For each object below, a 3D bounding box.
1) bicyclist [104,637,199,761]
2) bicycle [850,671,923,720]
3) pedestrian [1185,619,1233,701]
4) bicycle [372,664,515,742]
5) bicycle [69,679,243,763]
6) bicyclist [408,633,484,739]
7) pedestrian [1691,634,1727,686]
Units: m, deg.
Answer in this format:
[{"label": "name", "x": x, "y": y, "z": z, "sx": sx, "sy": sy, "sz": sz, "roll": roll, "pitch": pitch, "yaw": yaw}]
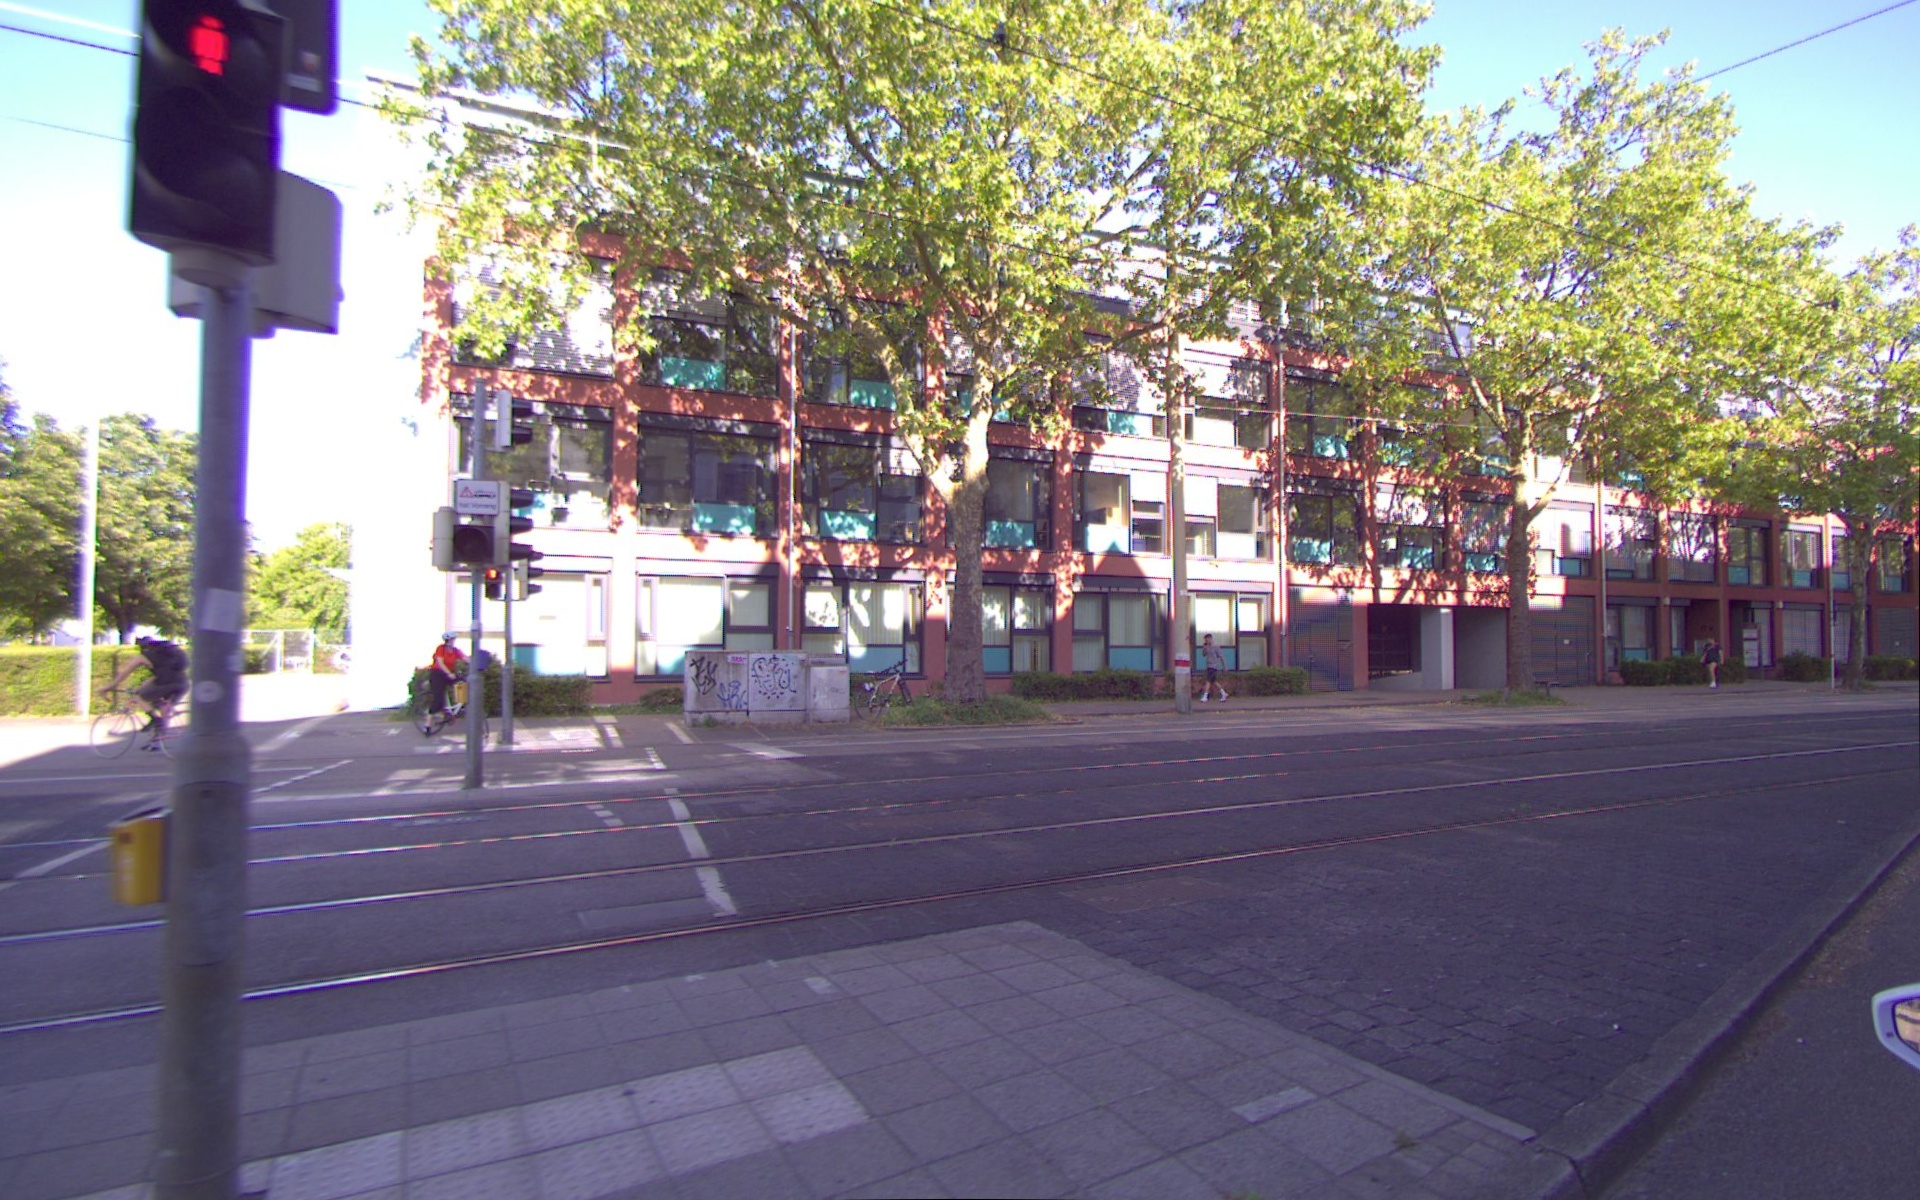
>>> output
[{"label": "bicyclist", "x": -11.120, "y": 1.343, "z": 13.833, "sx": 0.765, "sy": 1.633, "sz": 0.647, "roll": 1, "pitch": 0, "yaw": 2}, {"label": "bicycle", "x": -1.451, "y": 1.886, "z": 20.083, "sx": 0.514, "sy": 0.918, "sz": 1.536, "roll": -2, "pitch": -3, "yaw": 42}, {"label": "pedestrian", "x": 6.422, "y": 1.523, "z": 25.924, "sx": 0.772, "sy": 2.040, "sz": 0.905, "roll": 1, "pitch": 0, "yaw": -33}, {"label": "bicycle", "x": -8.533, "y": 1.694, "z": 16.639, "sx": 1.995, "sy": 1.144, "sz": 0.634, "roll": 2, "pitch": 0, "yaw": 1}, {"label": "bicycle", "x": -11.057, "y": 1.651, "z": 13.839, "sx": 1.887, "sy": 1.056, "sz": 0.647, "roll": 1, "pitch": 0, "yaw": 2}, {"label": "bicyclist", "x": -8.501, "y": 1.408, "z": 16.641, "sx": 0.914, "sy": 1.715, "sz": 0.607, "roll": 1, "pitch": 0, "yaw": 1}, {"label": "pedestrian", "x": 25.572, "y": 2.040, "z": 34.296, "sx": 0.888, "sy": 1.741, "sz": 0.623, "roll": 1, "pitch": 0, "yaw": -26}]
